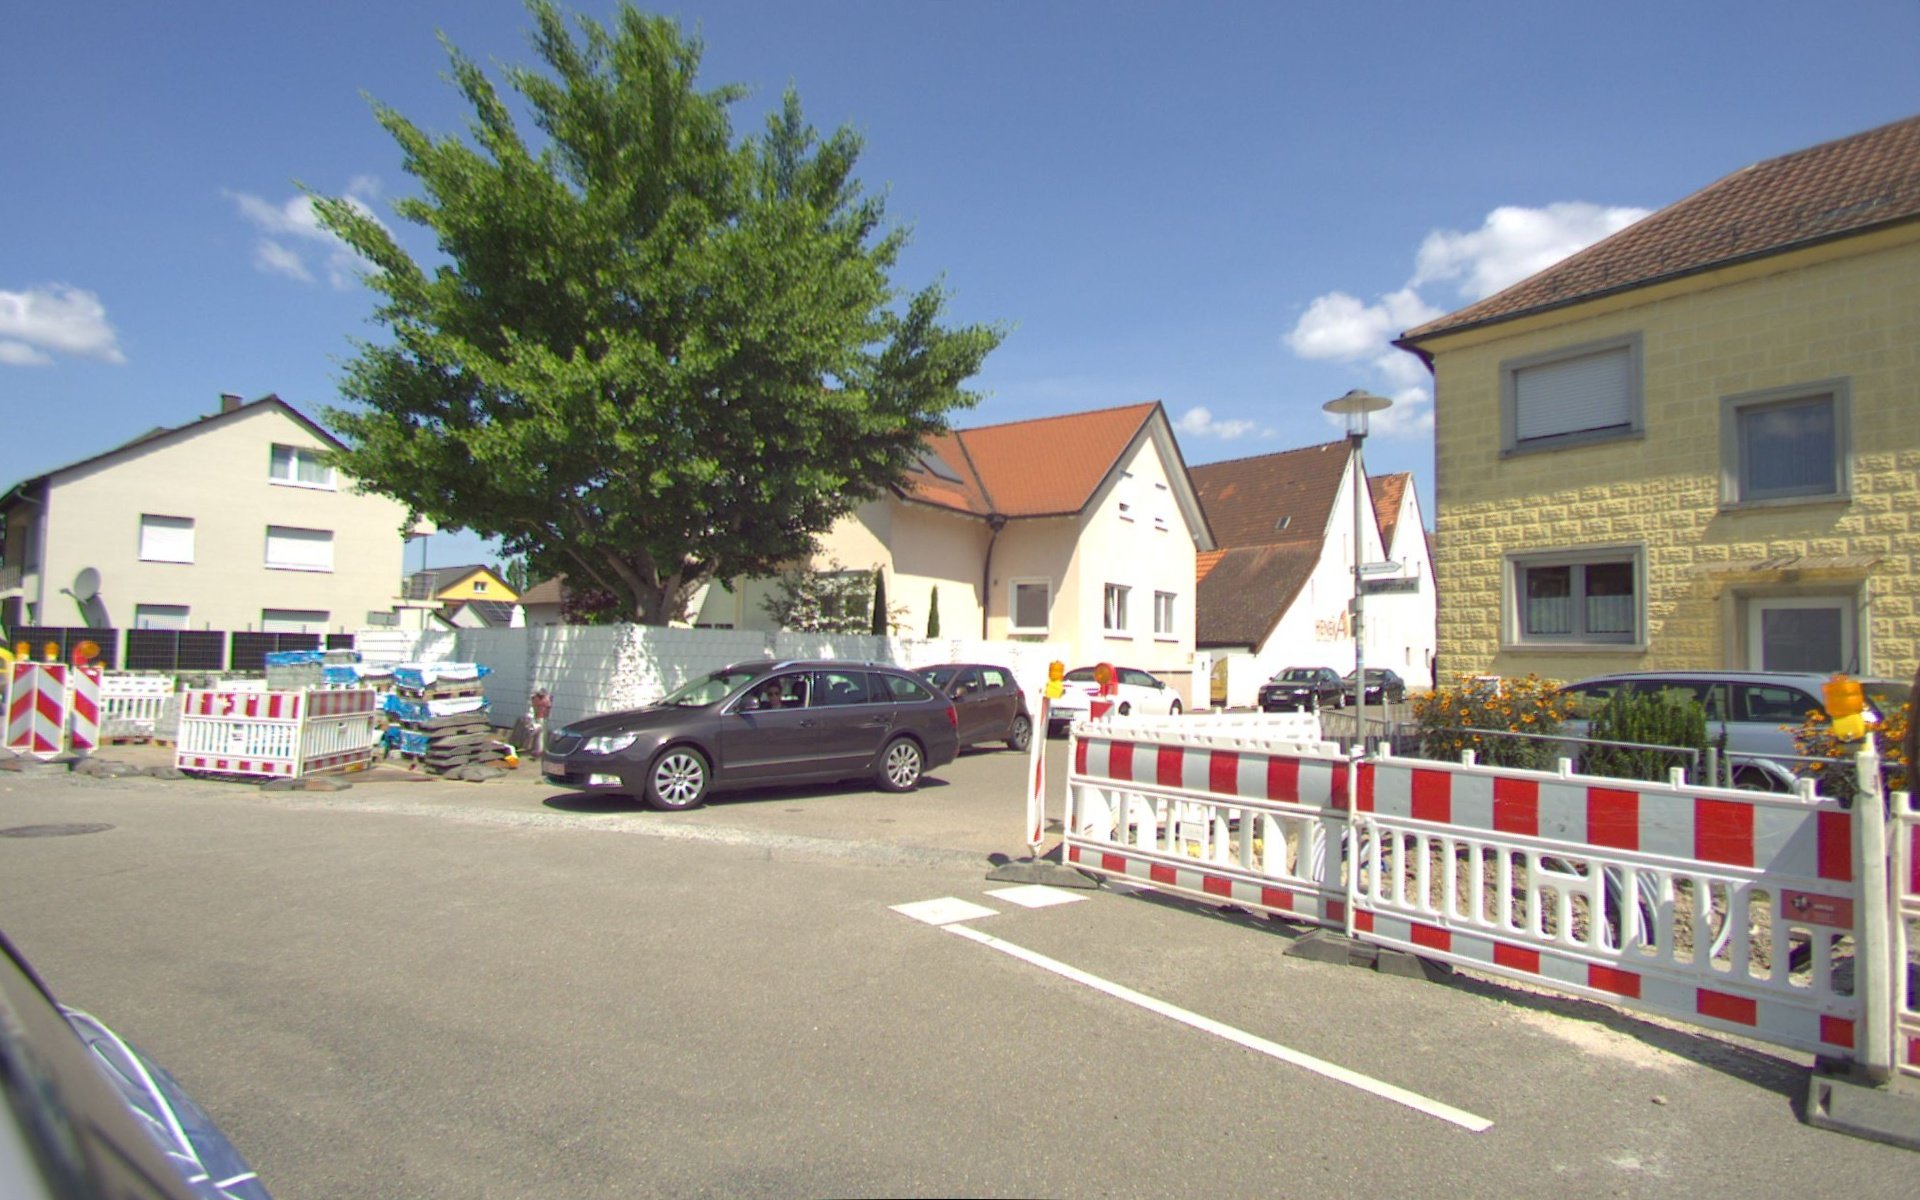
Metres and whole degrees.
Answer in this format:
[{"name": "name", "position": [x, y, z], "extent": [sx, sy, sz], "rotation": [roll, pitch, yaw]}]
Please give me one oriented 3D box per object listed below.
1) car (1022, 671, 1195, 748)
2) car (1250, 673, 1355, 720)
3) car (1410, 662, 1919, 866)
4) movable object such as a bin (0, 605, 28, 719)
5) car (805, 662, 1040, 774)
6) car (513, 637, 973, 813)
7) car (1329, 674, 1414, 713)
[{"name": "car", "position": [3.352, 2.297, 22.027], "extent": [1.897, 1.439, 4.681], "rotation": [-2, -4, 34]}, {"name": "car", "position": [11.343, 3.132, 33.312], "extent": [1.899, 1.375, 4.677], "rotation": [-2, -4, 37]}, {"name": "car", "position": [6.965, 1.401, 10.084], "extent": [1.761, 1.497, 4.487], "rotation": [2, -4, -24]}, {"name": "movable object such as a bin", "position": [-23.225, 1.322, 21.297], "extent": [5.154, 2.471, 2.001], "rotation": [4, -7, -45]}, {"name": "car", "position": [-0.479, 1.821, 16.255], "extent": [1.713, 1.544, 3.988], "rotation": [-6, -6, 34]}, {"name": "car", "position": [-2.179, 1.411, 11.127], "extent": [4.636, 1.547, 1.788], "rotation": [7, -12, -41]}, {"name": "car", "position": [16.072, 3.593, 39.434], "extent": [1.900, 1.375, 4.356], "rotation": [-2, -4, 39]}]
